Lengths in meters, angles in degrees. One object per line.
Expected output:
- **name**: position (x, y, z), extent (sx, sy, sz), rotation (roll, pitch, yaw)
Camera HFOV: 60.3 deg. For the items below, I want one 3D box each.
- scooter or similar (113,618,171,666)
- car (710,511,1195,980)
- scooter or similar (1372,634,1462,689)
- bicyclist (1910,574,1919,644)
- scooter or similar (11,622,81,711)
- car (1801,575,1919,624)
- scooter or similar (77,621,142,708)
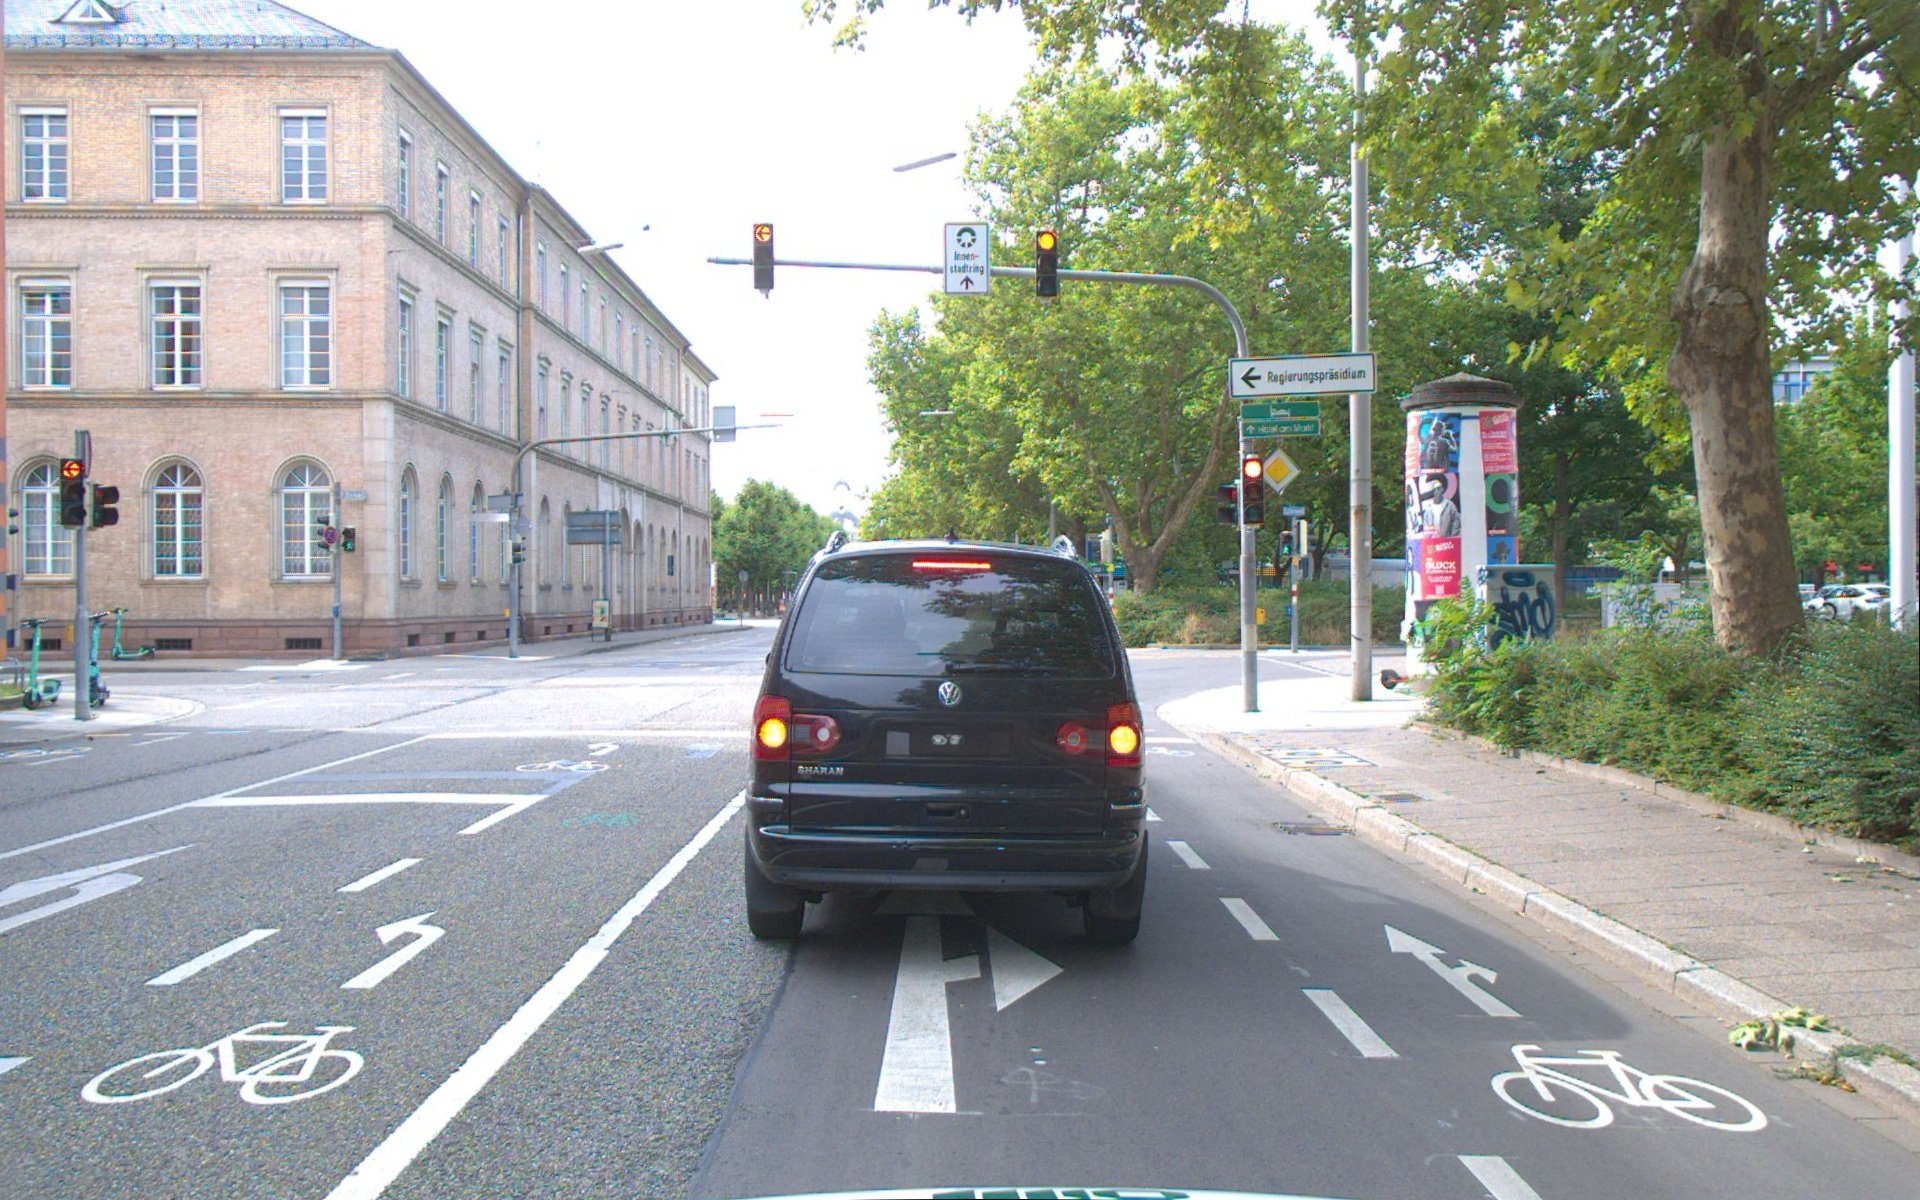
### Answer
- **scooter or similar**: position (-18.506, 0.940, 37.424), extent (1.115, 1.068, 0.379), rotation (-1, -2, -1)
- **car**: position (0.009, 0.539, 8.579), extent (1.835, 1.775, 4.574), rotation (0, 0, 1)
- **scooter or similar**: position (6.569, 0.881, 23.777), extent (1.194, 0.749, 0.369), rotation (-1, 0, -2)
- **bicyclist**: position (22.858, 0.204, 39.034), extent (0.557, 1.646, 0.535), rotation (-1, 0, -1)
- **scooter or similar**: position (-12.242, 0.881, 22.165), extent (0.370, 1.167, 1.141), rotation (0, -1, -4)
- **car**: position (32.254, -0.031, 59.339), extent (1.922, 1.680, 4.150), rotation (-1, 0, -3)
- **scooter or similar**: position (-11.671, 0.873, 22.719), extent (0.370, 1.164, 1.141), rotation (0, -1, -4)
